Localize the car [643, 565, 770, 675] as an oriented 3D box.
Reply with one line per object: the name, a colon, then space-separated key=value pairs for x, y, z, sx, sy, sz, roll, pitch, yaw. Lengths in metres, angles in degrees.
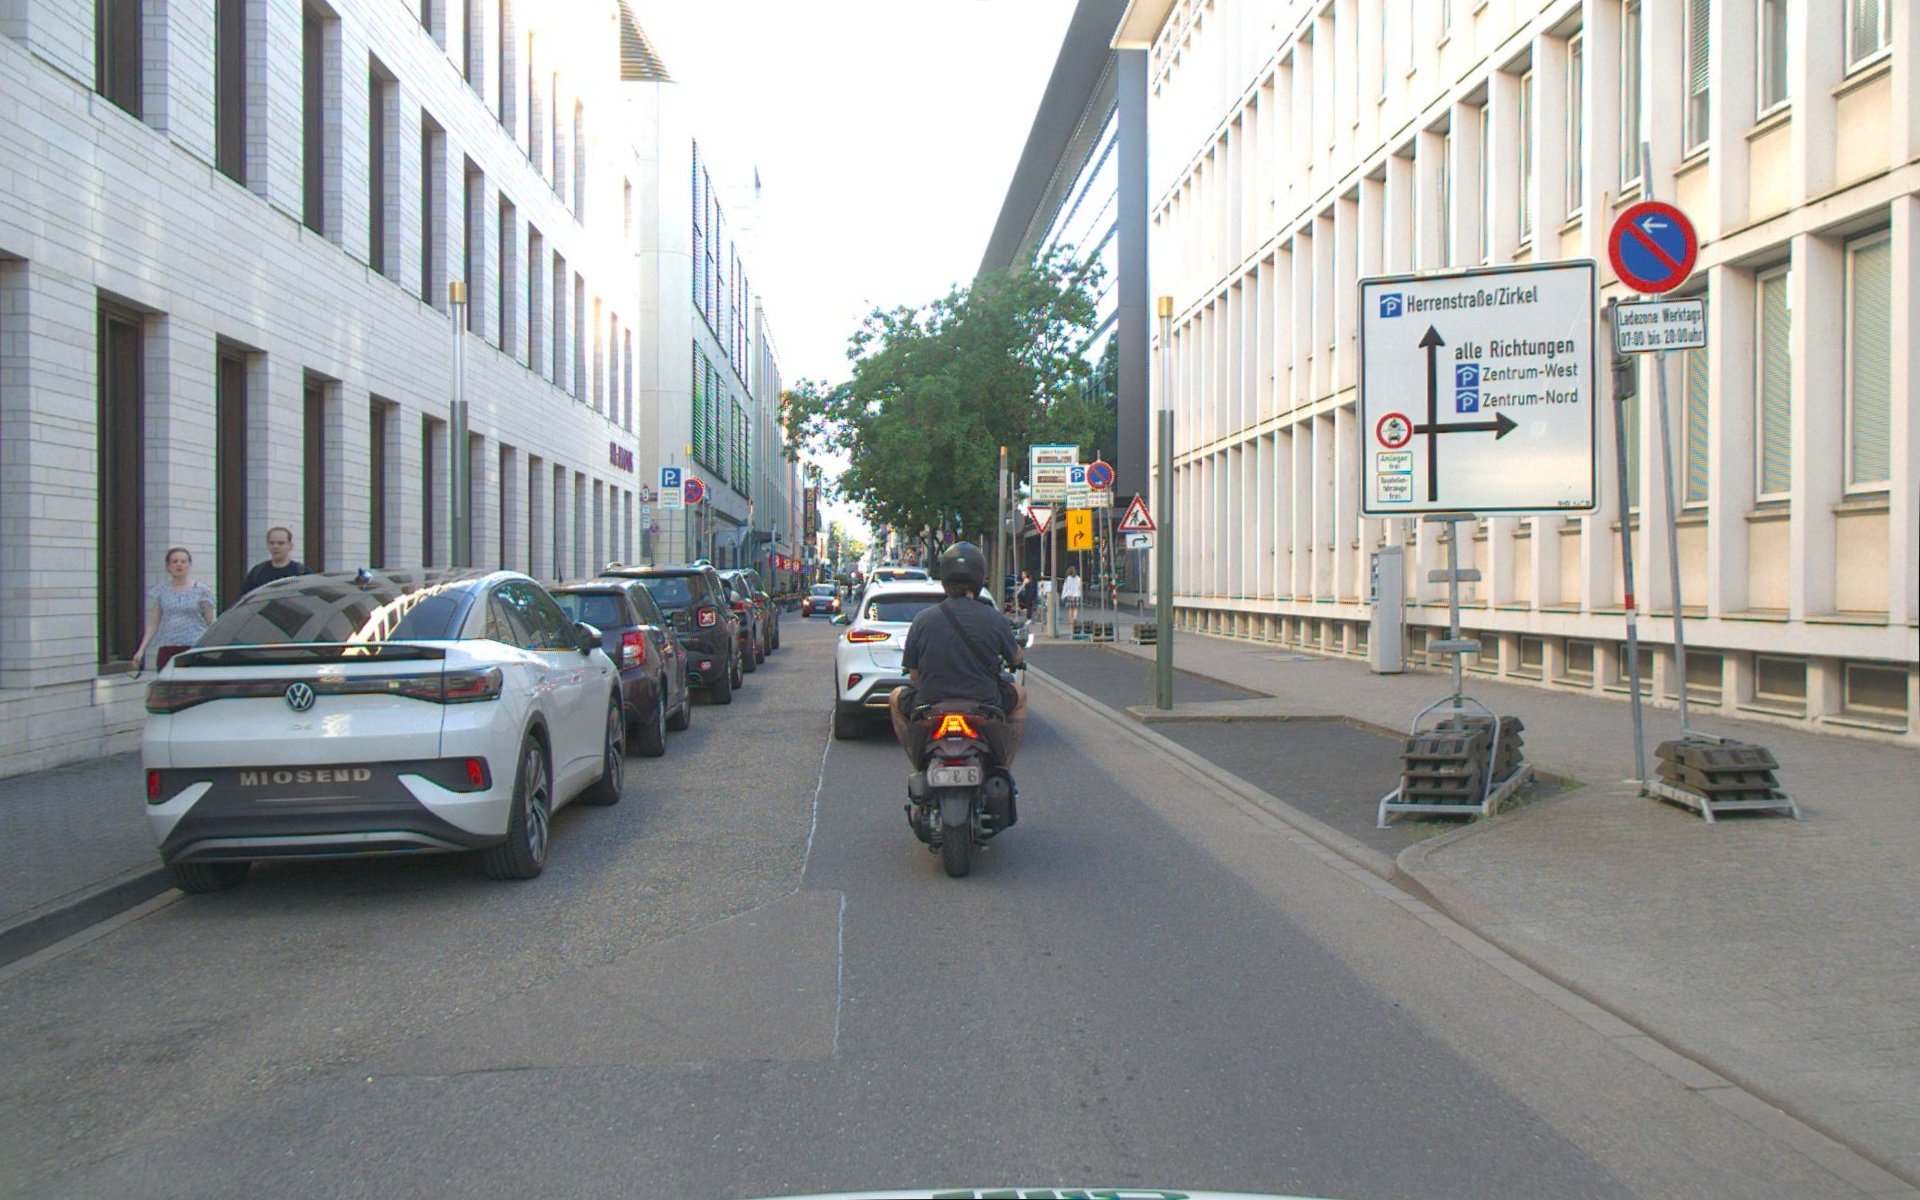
car: x=-4.119 y=0.268 z=27.384 sx=1.705 sy=1.622 sz=4.151 roll=-2 pitch=1 yaw=-4

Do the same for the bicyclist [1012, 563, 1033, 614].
bicyclist: x=2.035 y=-0.367 z=53.562 sx=0.617 sy=1.654 sz=0.498 roll=1 pitch=-1 yaw=-2

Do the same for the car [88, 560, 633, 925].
car: x=-3.112 y=0.590 z=9.631 sx=1.786 sy=1.568 sz=4.443 roll=-2 pitch=1 yaw=-4

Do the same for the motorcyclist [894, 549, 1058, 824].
motorcyclist: x=0.078 y=0.462 z=9.047 sx=0.849 sy=1.452 sz=0.455 roll=1 pitch=-1 yaw=-3

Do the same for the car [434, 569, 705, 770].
car: x=-3.500 y=0.522 z=15.595 sx=1.786 sy=1.568 sz=4.260 roll=-2 pitch=1 yaw=-4

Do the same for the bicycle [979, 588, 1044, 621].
bicycle: x=1.662 y=0.152 z=53.552 sx=2.060 sy=1.012 sz=0.518 roll=1 pitch=-1 yaw=-2

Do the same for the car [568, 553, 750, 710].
car: x=-3.709 y=0.320 z=21.005 sx=1.786 sy=1.744 sz=4.015 roll=-2 pitch=1 yaw=-4

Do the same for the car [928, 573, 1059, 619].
car: x=1.307 y=-0.165 z=65.269 sx=4.908 sy=1.477 sz=1.998 roll=-4 pitch=0 yaw=-6

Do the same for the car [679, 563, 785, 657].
car: x=-4.527 y=0.146 z=33.341 sx=1.786 sy=1.707 sz=4.260 roll=-2 pitch=1 yaw=-4

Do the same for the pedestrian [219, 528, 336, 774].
pedestrian: x=-5.188 y=0.380 z=12.599 sx=0.628 sy=1.821 sz=0.575 roll=1 pitch=-1 yaw=-3

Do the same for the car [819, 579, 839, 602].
car: x=-14.146 y=-1.068 z=177.886 sx=1.955 sy=2.369 sz=5.015 roll=2 pitch=0 yaw=-6

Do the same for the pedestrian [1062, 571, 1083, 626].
pedestrian: x=3.291 y=-0.045 z=48.378 sx=0.548 sy=1.611 sz=0.598 roll=1 pitch=-1 yaw=-2

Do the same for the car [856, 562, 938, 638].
car: x=-1.566 y=-0.038 z=39.823 sx=1.786 sy=1.674 sz=4.491 roll=-2 pitch=1 yaw=-4

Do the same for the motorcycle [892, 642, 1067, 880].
motorcycle: x=0.062 y=0.824 z=9.129 sx=0.855 sy=1.128 sz=1.839 roll=1 pitch=0 yaw=-2

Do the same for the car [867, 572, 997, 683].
car: x=-0.530 y=0.360 z=26.485 sx=1.786 sy=1.568 sz=4.361 roll=-2 pitch=1 yaw=-4

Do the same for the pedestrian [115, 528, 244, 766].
pedestrian: x=-6.174 y=0.365 z=13.121 sx=0.631 sy=1.821 sz=0.816 roll=1 pitch=-1 yaw=-3

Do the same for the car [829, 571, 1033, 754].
car: x=-0.408 y=0.514 z=16.906 sx=1.786 sy=1.568 sz=4.260 roll=-2 pitch=1 yaw=-4

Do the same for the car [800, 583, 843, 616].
car: x=-6.507 y=-0.005 z=78.118 sx=1.785 sy=1.491 sz=4.262 roll=0 pitch=-1 yaw=-1
